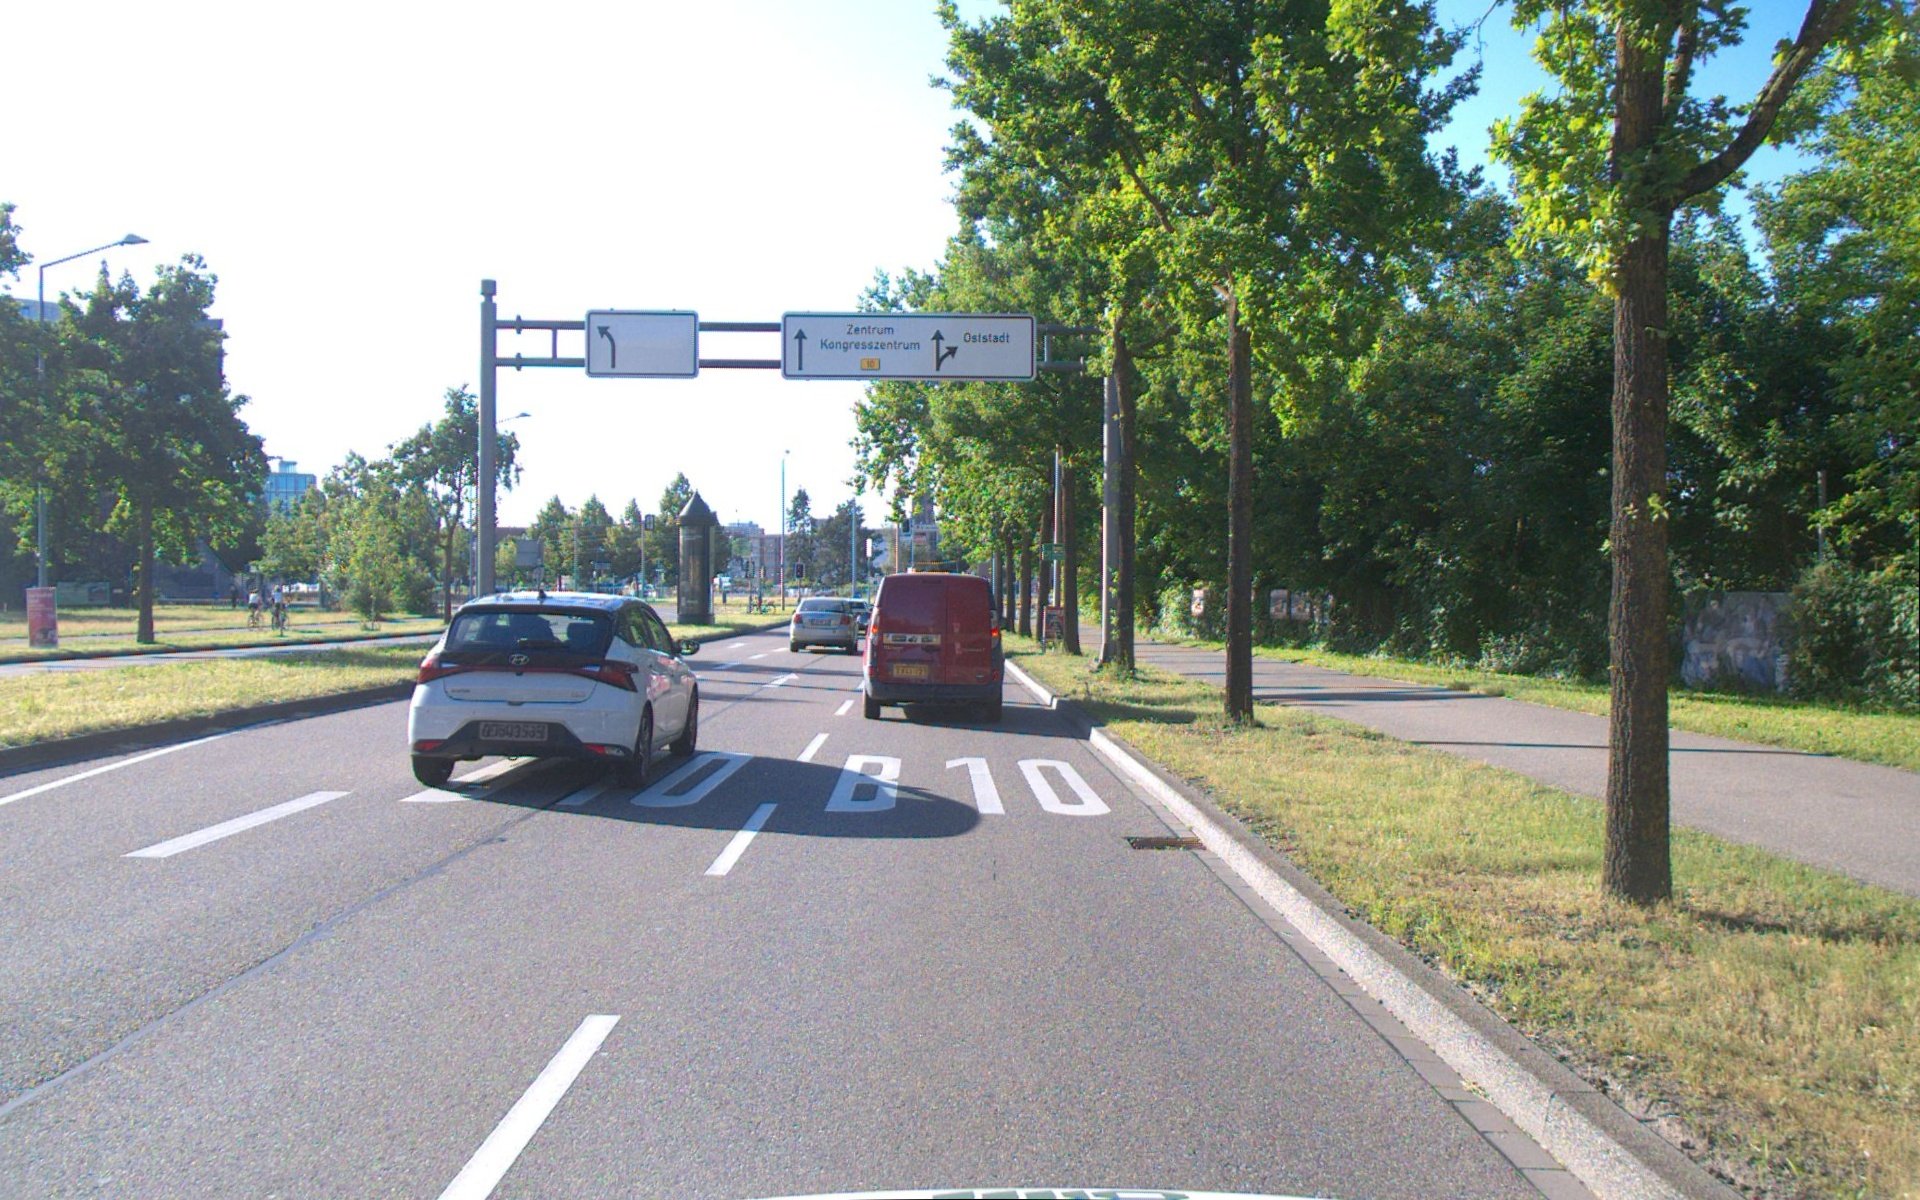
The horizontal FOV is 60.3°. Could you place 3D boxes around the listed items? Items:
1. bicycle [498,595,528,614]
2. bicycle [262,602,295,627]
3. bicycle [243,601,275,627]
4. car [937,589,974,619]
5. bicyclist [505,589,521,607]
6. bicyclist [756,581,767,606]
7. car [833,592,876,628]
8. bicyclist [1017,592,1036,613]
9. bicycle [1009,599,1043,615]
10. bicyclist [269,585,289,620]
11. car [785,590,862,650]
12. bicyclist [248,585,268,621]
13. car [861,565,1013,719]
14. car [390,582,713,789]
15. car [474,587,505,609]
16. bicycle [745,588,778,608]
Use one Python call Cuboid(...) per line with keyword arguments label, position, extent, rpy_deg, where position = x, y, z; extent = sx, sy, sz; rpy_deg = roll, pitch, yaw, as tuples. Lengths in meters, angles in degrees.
Cuboid(label="bicycle", position=(-27.114, 0.255, 100.317), extent=(1.690, 1.126, 0.605), rpy_deg=(0, 0, 12))
Cuboid(label="bicycle", position=(-27.520, 0.575, 66.820), extent=(0.558, 1.021, 2.095), rpy_deg=(0, 0, -2))
Cuboid(label="bicycle", position=(-28.537, 0.556, 67.336), extent=(0.477, 1.021, 2.095), rpy_deg=(0, 0, -2))
Cuboid(label="car", position=(-0.256, 0.231, 97.272), extent=(1.734, 1.653, 3.928), rpy_deg=(1, 0, 6))
Cuboid(label="bicyclist", position=(-27.099, -0.117, 100.306), extent=(0.719, 1.126, 0.605), rpy_deg=(0, 0, 12))
Cuboid(label="bicyclist", position=(-12.087, -0.408, 100.814), extent=(0.591, 1.494, 0.517), rpy_deg=(0, 0, -3))
Cuboid(label="car", position=(-4.263, 0.392, 67.199), extent=(1.628, 1.422, 3.558), rpy_deg=(0, 1, -1))
Cuboid(label="bicyclist", position=(4.170, 0.149, 103.788), extent=(0.959, 1.271, 0.780), rpy_deg=(0, 0, -33))
Cuboid(label="bicycle", position=(4.152, 0.457, 103.782), extent=(2.100, 0.975, 0.779), rpy_deg=(0, 0, -34))
Cuboid(label="bicyclist", position=(-27.521, 0.114, 66.844), extent=(0.551, 1.416, 0.747), rpy_deg=(0, 0, -2))
Cuboid(label="car", position=(-3.694, 0.511, 45.415), extent=(1.803, 1.482, 4.162), rpy_deg=(1, 1, -1))
Cuboid(label="bicyclist", position=(-28.531, 0.121, 67.227), extent=(0.472, 1.419, 0.844), rpy_deg=(0, 0, -2))
Cuboid(label="car", position=(-0.324, 0.480, 21.713), extent=(1.770, 1.790, 4.005), rpy_deg=(1, 1, -1))
Cuboid(label="car", position=(-3.216, 0.588, 13.831), extent=(1.742, 1.433, 4.074), rpy_deg=(1, 1, -1))
Cuboid(label="car", position=(-40.765, -0.177, 143.294), extent=(1.617, 1.909, 3.959), rpy_deg=(0, 0, -30))
Cuboid(label="bicycle", position=(-12.093, -0.108, 100.816), extent=(1.919, 1.186, 0.517), rpy_deg=(0, 0, -3))
